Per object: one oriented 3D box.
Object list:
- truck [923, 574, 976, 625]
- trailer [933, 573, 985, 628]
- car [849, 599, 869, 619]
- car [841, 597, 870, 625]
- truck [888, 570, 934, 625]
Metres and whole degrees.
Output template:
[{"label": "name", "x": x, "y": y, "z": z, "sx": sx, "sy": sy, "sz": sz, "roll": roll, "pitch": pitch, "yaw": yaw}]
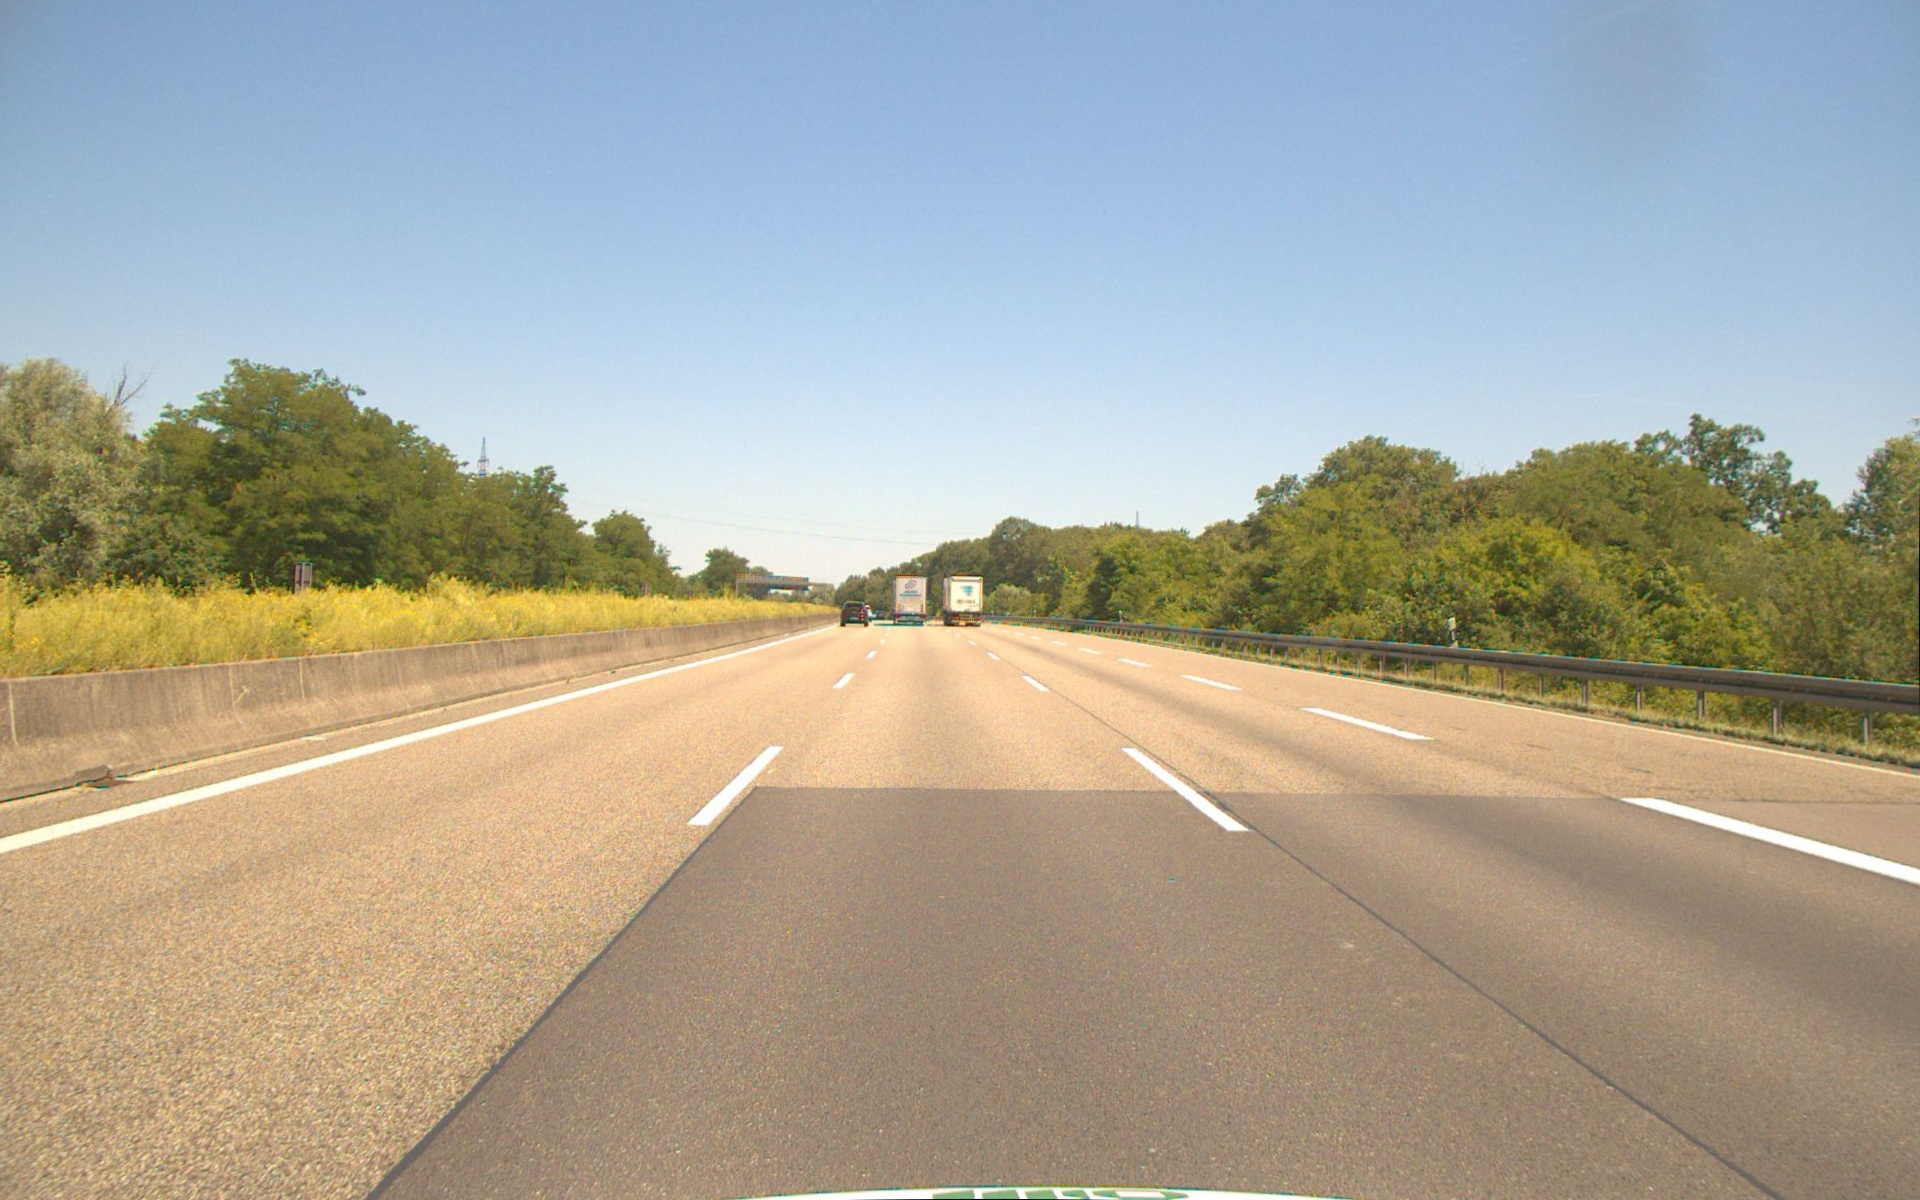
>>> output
[{"label": "truck", "x": -0.965, "y": -0.110, "z": 141.695, "sx": 3.262, "sy": 4.124, "sz": 10.937, "roll": 1, "pitch": 0, "yaw": -7}, {"label": "trailer", "x": -0.133, "y": -0.023, "z": 133.826, "sx": 3.302, "sy": 4.215, "sz": 9.081, "roll": 1, "pitch": 0, "yaw": -6}, {"label": "car", "x": -10.568, "y": 0.951, "z": 173.139, "sx": 1.955, "sy": 1.907, "sz": 3.996, "roll": 2, "pitch": 0, "yaw": -6}, {"label": "car", "x": -7.467, "y": 0.765, "z": 117.534, "sx": 1.954, "sy": 1.907, "sz": 3.996, "roll": 1, "pitch": 0, "yaw": -5}, {"label": "truck", "x": -4.025, "y": -0.203, "z": 133.569, "sx": 3.166, "sy": 4.275, "sz": 8.457, "roll": 1, "pitch": 0, "yaw": -5}]
